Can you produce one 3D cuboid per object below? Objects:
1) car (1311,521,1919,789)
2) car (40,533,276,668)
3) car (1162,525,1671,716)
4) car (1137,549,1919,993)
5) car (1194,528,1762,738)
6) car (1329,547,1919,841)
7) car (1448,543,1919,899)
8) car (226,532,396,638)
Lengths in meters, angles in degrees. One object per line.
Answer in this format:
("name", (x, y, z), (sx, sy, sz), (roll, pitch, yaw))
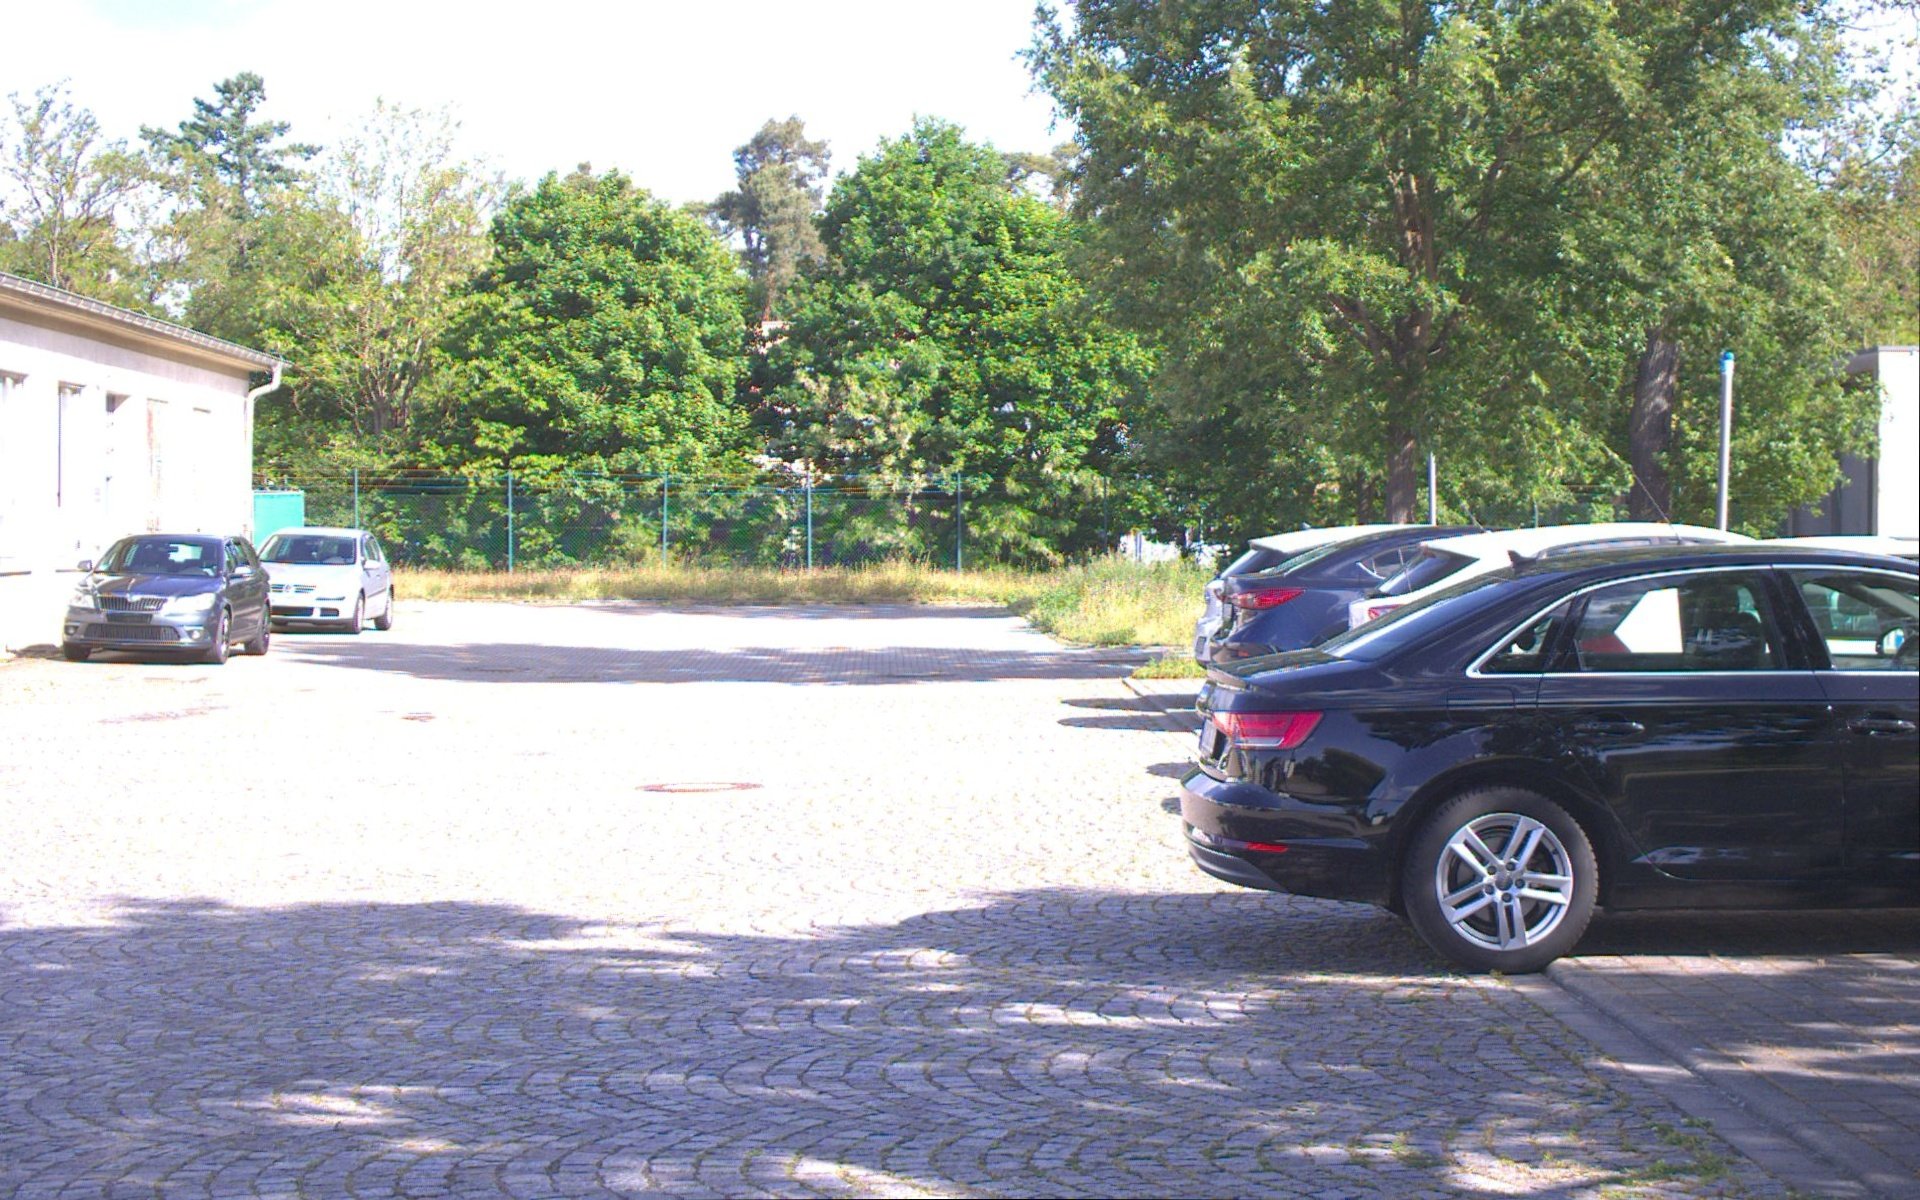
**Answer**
("car", (4.146, 0.290, 20.405), (3.912, 1.441, 1.756), (-1, 1, 0))
("car", (-9.024, -0.029, 38.985), (1.763, 1.430, 3.992), (1, 1, -1))
("car", (3.690, 0.147, 28.270), (3.912, 1.430, 1.796), (-1, 1, 0))
("car", (3.091, 0.542, 12.519), (4.718, 1.418, 1.757), (-1, 1, -2))
("car", (3.770, 0.220, 25.470), (3.912, 1.412, 1.692), (-1, 1, 0))
("car", (3.970, 0.440, 17.723), (3.912, 1.367, 1.728), (-1, 1, 0))
("car", (4.328, 0.478, 15.268), (4.138, 1.455, 1.691), (-1, 1, 4))
("car", (-9.202, -0.243, 48.989), (1.687, 1.430, 3.987), (1, 1, -1))
